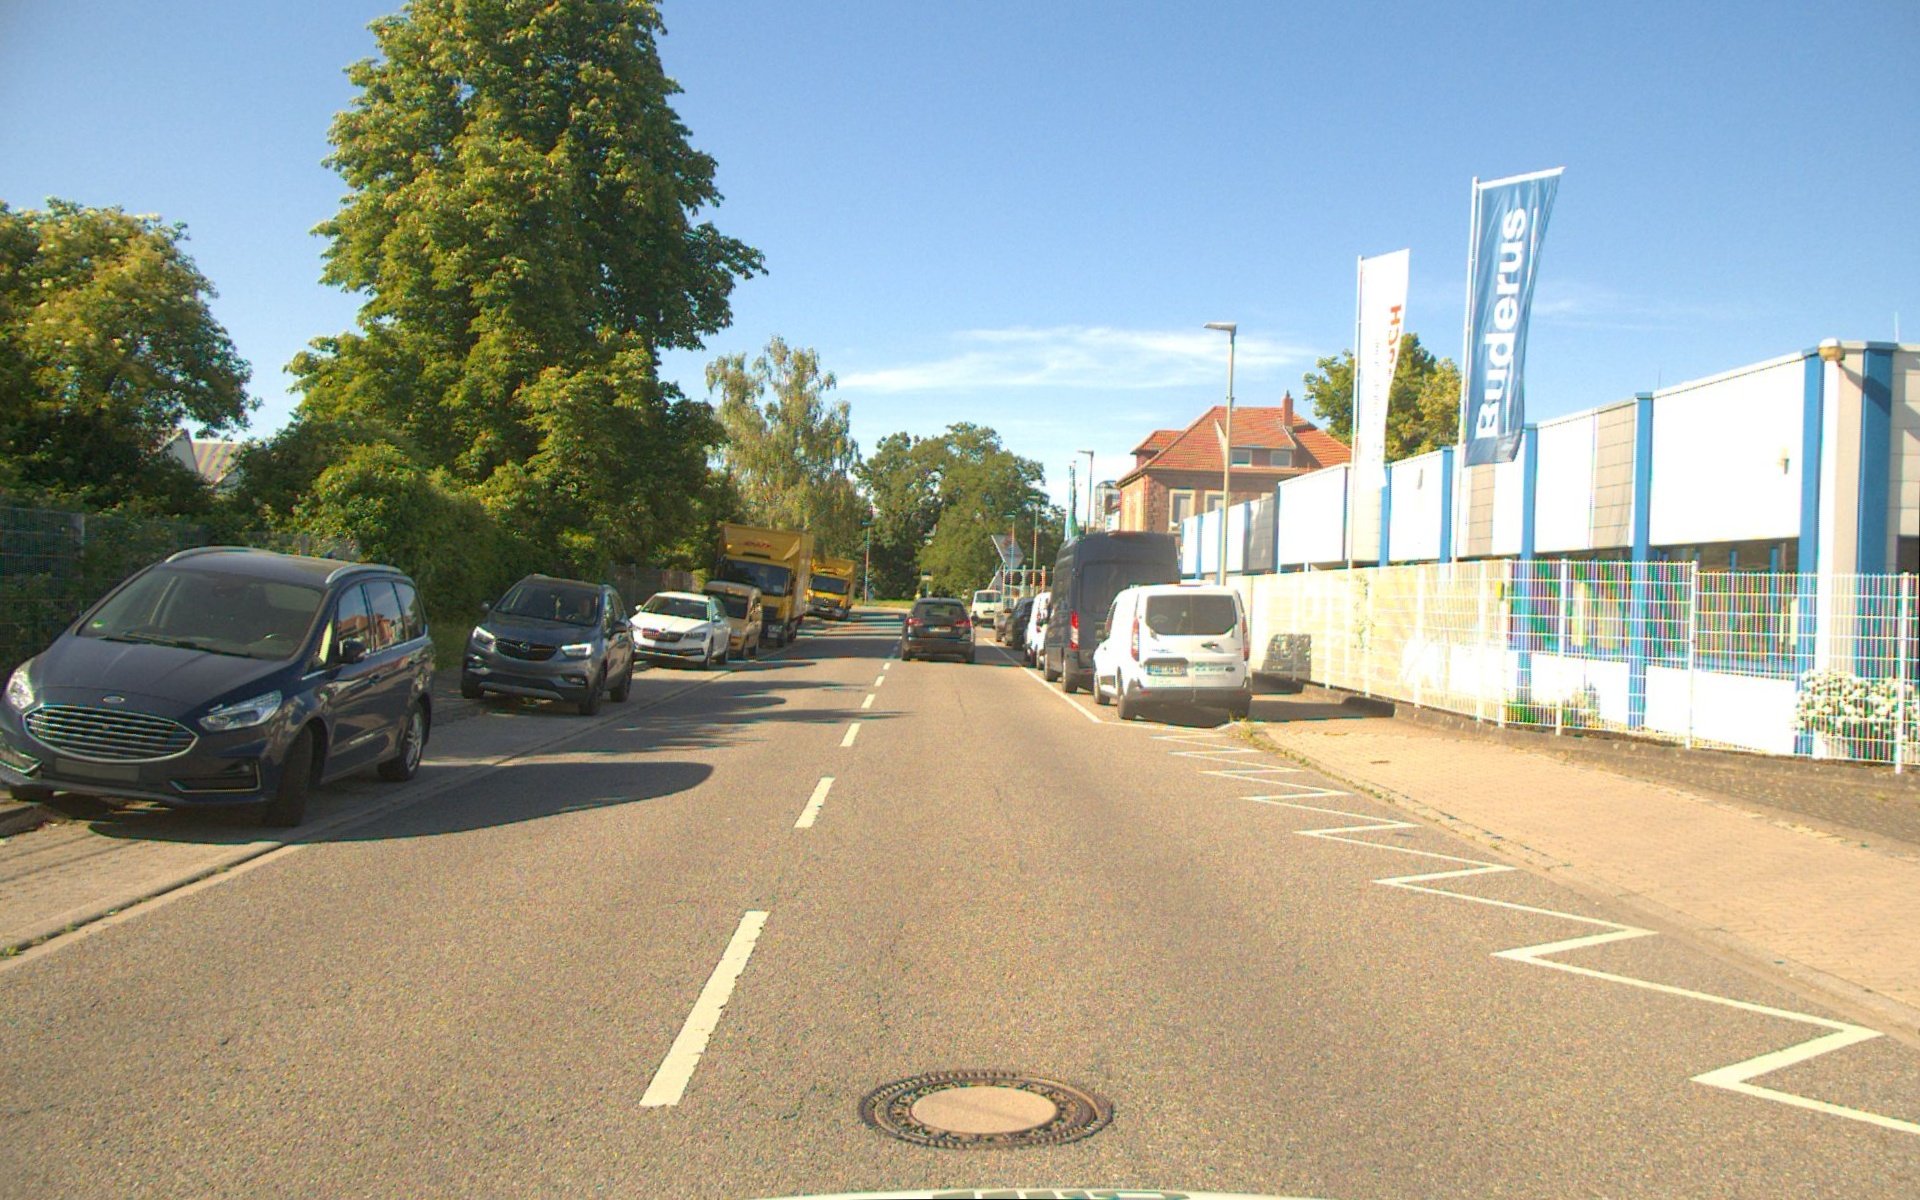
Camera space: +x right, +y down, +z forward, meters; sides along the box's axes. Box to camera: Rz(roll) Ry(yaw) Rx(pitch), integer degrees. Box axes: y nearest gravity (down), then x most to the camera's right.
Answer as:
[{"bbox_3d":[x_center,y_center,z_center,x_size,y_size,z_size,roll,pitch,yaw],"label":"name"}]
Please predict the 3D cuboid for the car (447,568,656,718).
[{"bbox_3d":[-5.510,0.509,22.892,1.871,1.691,4.461,6,0,-3],"label":"car"}]

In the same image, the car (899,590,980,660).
[{"bbox_3d":[-0.474,0.557,39.853,1.809,1.556,4.000,1,1,0],"label":"car"}]

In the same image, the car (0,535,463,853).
[{"bbox_3d":[-5.099,0.533,12.162,1.757,1.760,4.796,4,0,-6],"label":"car"}]

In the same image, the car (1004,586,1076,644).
[{"bbox_3d":[2.549,0.472,53.658,1.954,1.696,4.730,3,0,-1],"label":"car"}]

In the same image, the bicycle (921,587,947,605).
[{"bbox_3d":[-1.971,-0.294,124.911,0.797,1.290,2.231,3,0,-35],"label":"bicycle"}]

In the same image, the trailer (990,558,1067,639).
[{"bbox_3d":[2.434,-0.060,60.202,2.410,2.719,5.700,2,0,-1],"label":"trailer"}]

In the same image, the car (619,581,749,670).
[{"bbox_3d":[-5.948,0.510,36.256,1.870,1.620,5.025,6,0,0],"label":"car"}]

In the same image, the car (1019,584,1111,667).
[{"bbox_3d":[2.591,0.612,41.921,1.818,1.862,5.167,3,0,-1],"label":"car"}]

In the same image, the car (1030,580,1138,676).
[{"bbox_3d":[2.657,0.579,36.680,1.848,1.879,5.103,3,0,-1],"label":"car"}]

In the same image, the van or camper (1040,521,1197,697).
[{"bbox_3d":[2.791,0.155,30.689,2.097,2.807,6.160,3,0,-1],"label":"van or camper"}]

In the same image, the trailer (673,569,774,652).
[{"bbox_3d":[-5.960,0.243,42.183,1.953,1.975,4.414,1,0,-1],"label":"trailer"}]

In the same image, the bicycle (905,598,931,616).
[{"bbox_3d":[-3.278,0.525,128.559,0.798,1.242,2.226,3,0,-40],"label":"bicycle"}]

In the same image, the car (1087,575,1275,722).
[{"bbox_3d":[3.096,0.638,24.255,1.848,1.829,5.102,3,0,-2],"label":"car"}]

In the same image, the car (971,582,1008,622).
[{"bbox_3d":[1.587,0.097,90.742,1.836,2.048,5.159,3,0,-1],"label":"car"}]

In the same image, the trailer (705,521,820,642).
[{"bbox_3d":[-6.187,-0.560,53.086,2.931,3.503,8.158,2,0,-2],"label":"trailer"}]

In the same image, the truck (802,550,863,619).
[{"bbox_3d":[-7.387,-0.971,96.662,2.580,3.563,8.656,7,1,-1],"label":"truck"}]
